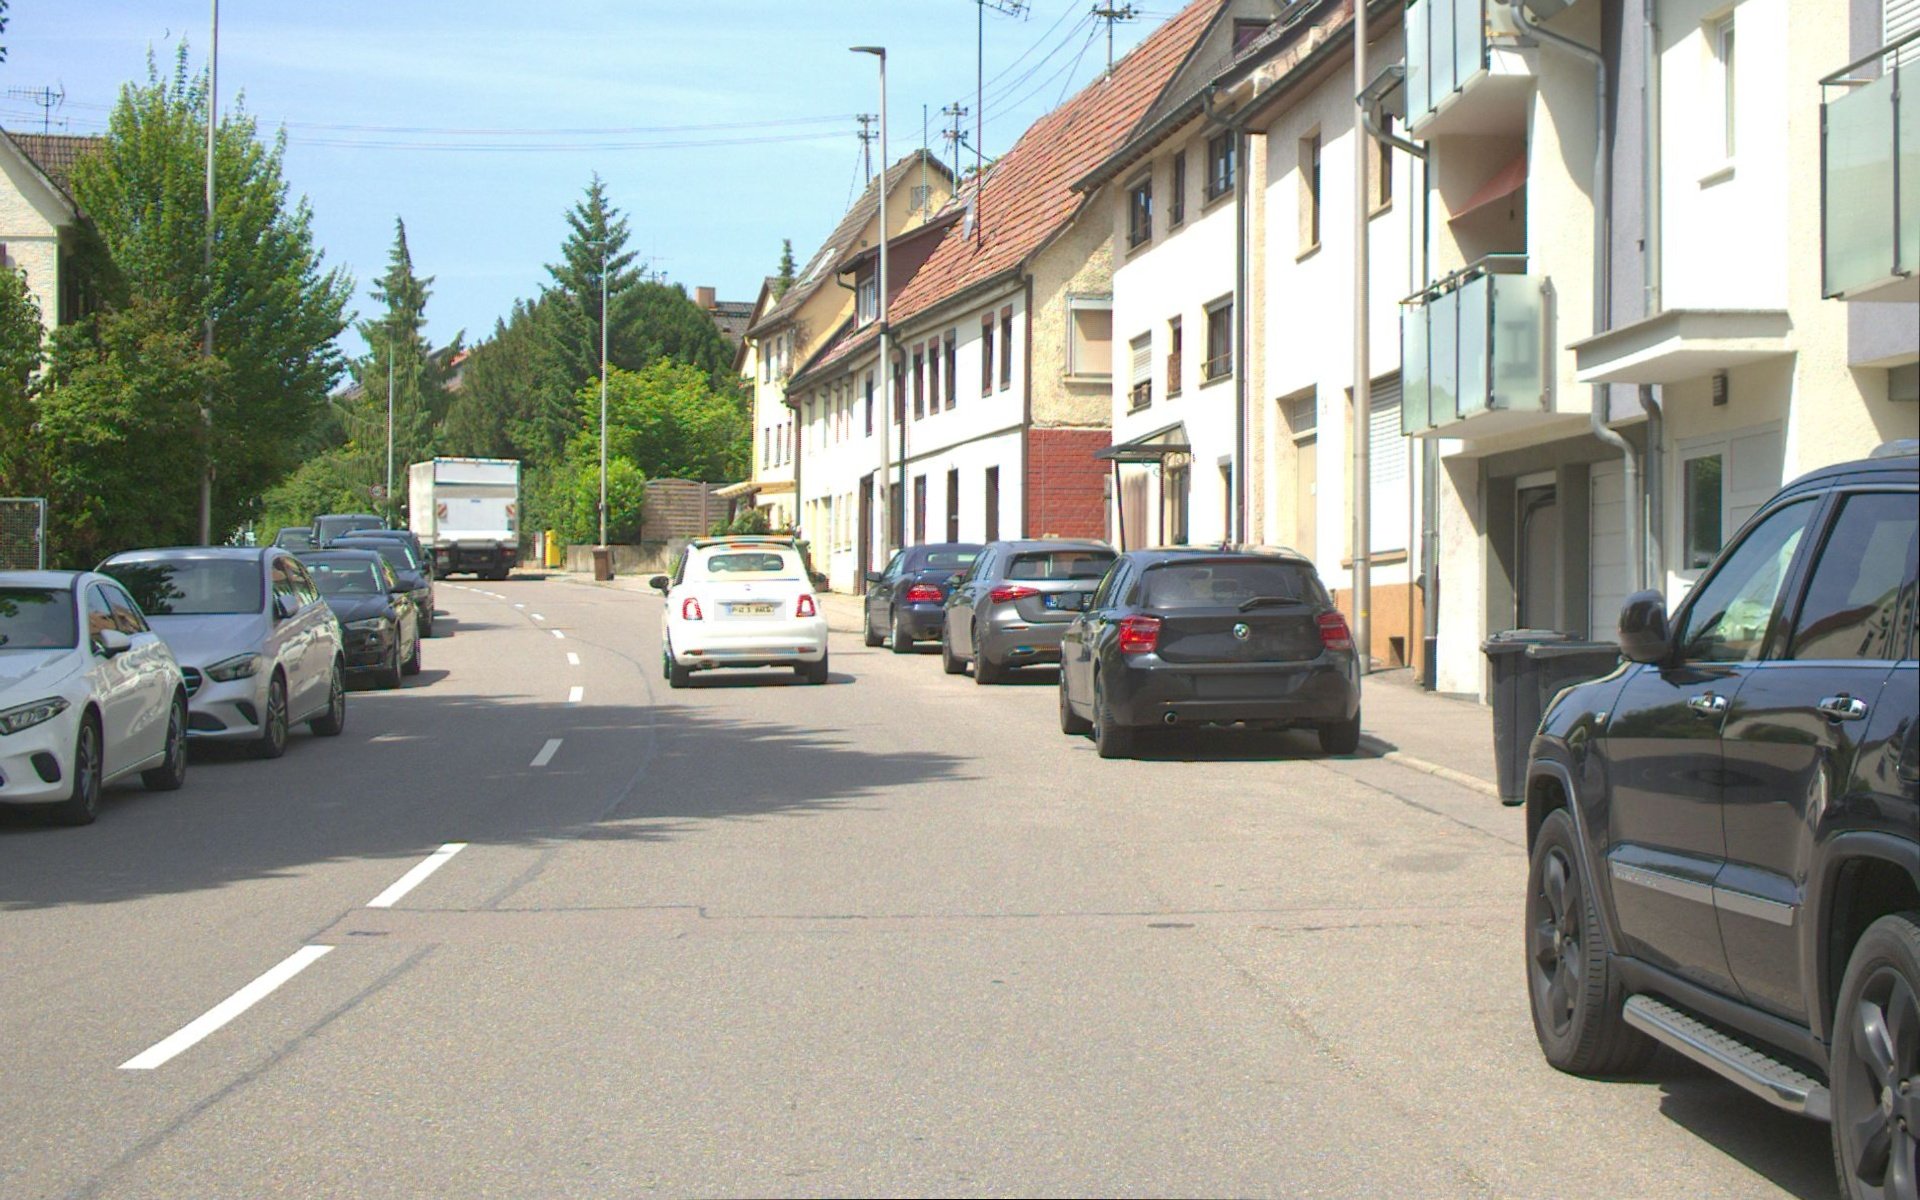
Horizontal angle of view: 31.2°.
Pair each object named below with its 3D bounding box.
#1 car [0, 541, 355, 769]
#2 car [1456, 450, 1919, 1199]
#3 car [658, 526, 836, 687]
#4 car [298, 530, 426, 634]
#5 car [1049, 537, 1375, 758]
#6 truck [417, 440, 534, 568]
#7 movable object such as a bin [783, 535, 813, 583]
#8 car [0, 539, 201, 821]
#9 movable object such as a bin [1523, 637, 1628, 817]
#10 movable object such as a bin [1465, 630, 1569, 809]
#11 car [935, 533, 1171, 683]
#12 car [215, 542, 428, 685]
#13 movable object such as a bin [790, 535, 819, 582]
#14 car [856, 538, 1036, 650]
[{"bbox_3d":[-5.845,0.350,26.106,1.772,1.522,4.222,-2,1,-1],"label":"car"},{"bbox_3d":[2.676,0.531,8.423,1.953,1.710,4.717,0,1,-4],"label":"car"},{"bbox_3d":[-2.185,0.021,36.169,1.725,1.555,4.001,-2,1,-2],"label":"car"},{"bbox_3d":[-8.963,-0.308,51.639,1.788,1.458,4.713,-1,1,-10],"label":"car"},{"bbox_3d":[1.705,0.281,24.598,1.797,1.419,4.291,-1,1,-3],"label":"car"},{"bbox_3d":[-14.928,-2.890,105.528,3.067,3.761,7.870,0,0,-11],"label":"truck"},{"bbox_3d":[-3.563,-0.907,75.788,0.546,1.030,0.552,-3,2,-10],"label":"movable object such as a bin"},{"bbox_3d":[-5.765,0.404,20.236,1.754,1.462,4.363,-2,1,-2],"label":"car"},{"bbox_3d":[3.286,0.672,18.373,0.431,0.921,0.491,-1,1,-3],"label":"movable object such as a bin"},{"bbox_3d":[3.089,0.656,19.091,0.431,0.953,0.517,-2,1,-3],"label":"movable object such as a bin"},{"bbox_3d":[0.882,0.031,35.330,1.793,1.398,4.413,-1,1,-7],"label":"car"},{"bbox_3d":[-6.941,0.097,37.806,1.804,1.419,4.929,-1,1,-5],"label":"car"},{"bbox_3d":[-3.521,-0.952,77.829,0.546,1.030,0.552,-3,2,-10],"label":"movable object such as a bin"},{"bbox_3d":[-0.234,-0.104,44.115,1.665,1.348,4.188,0,1,-9],"label":"car"}]
